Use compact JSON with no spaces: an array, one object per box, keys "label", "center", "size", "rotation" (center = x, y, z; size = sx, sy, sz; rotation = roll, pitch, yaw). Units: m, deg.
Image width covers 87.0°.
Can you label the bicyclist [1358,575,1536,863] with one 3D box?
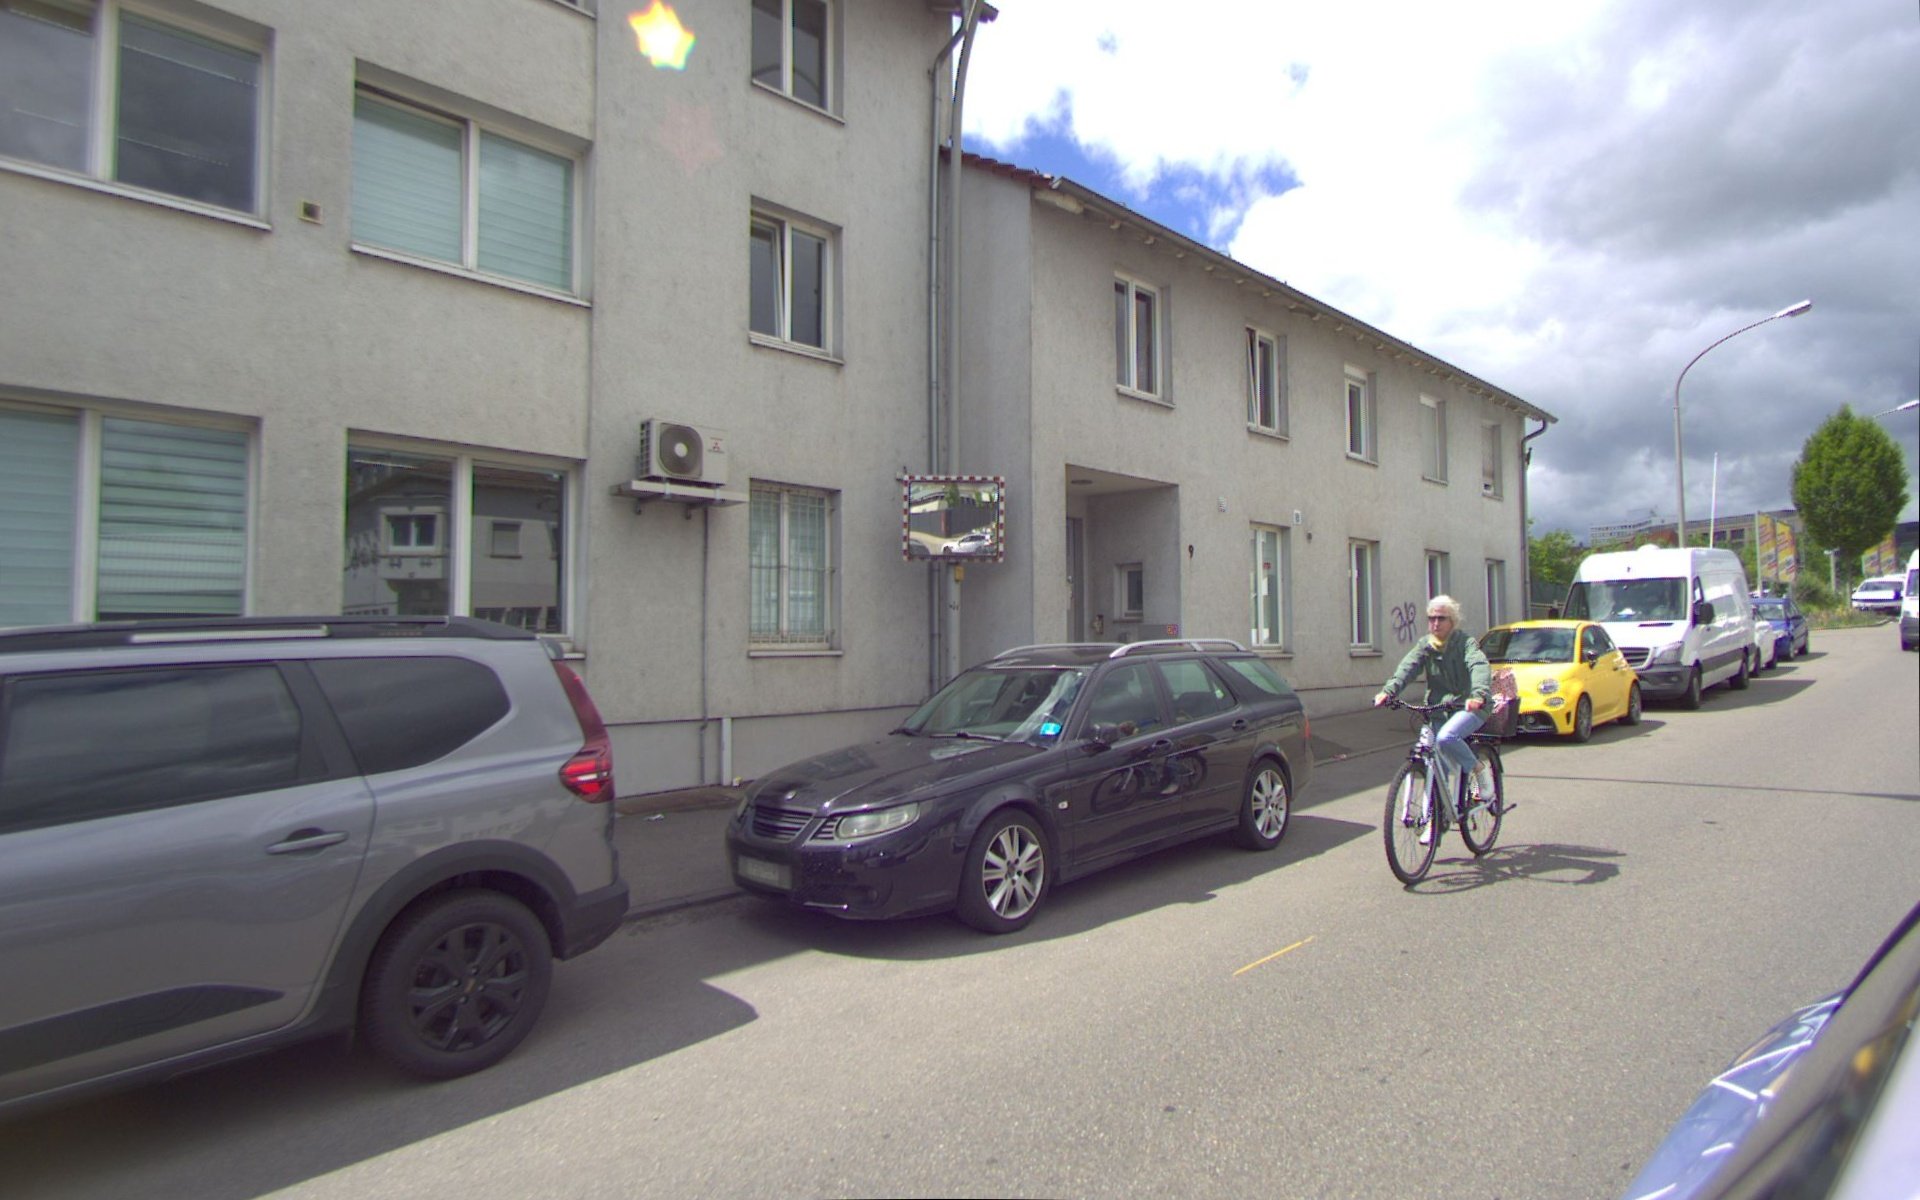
[{"label":"bicyclist","center":[3.053,0.691,6.351],"size":[0.720,1.647,0.739],"rotation":[-2,-1,-45]}]

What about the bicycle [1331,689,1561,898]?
[{"label":"bicycle","center":[3.079,1.119,6.336],"size":[1.704,0.988,0.740],"rotation":[0,-2,-45]}]

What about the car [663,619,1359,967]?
[{"label":"car","center":[0.709,0.941,6.848],"size":[5.002,1.530,1.705],"rotation":[1,-5,-44]}]

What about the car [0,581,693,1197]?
[{"label":"car","center":[-3.372,0.828,3.180],"size":[1.676,1.660,4.720],"rotation":[-6,-5,43]}]

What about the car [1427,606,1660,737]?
[{"label":"car","center":[7.938,0.867,13.644],"size":[3.725,1.466,1.594],"rotation":[-1,-2,-42]}]

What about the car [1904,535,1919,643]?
[{"label":"car","center":[26.109,-0.391,25.990],"size":[5.959,2.623,2.079],"rotation":[-3,-1,-42]}]

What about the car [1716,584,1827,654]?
[{"label":"car","center":[20.470,0.445,25.482],"size":[4.026,1.529,1.568],"rotation":[-3,-1,-43]}]

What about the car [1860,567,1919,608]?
[{"label":"car","center":[39.383,-0.537,42.466],"size":[4.388,1.585,1.845],"rotation":[-3,1,-41]}]

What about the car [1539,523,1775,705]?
[{"label":"car","center":[12.663,0.187,18.091],"size":[7.163,2.675,2.034],"rotation":[-1,-2,-44]}]

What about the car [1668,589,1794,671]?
[{"label":"car","center":[16.800,0.617,22.002],"size":[3.729,1.529,1.593],"rotation":[-2,-1,-44]}]
